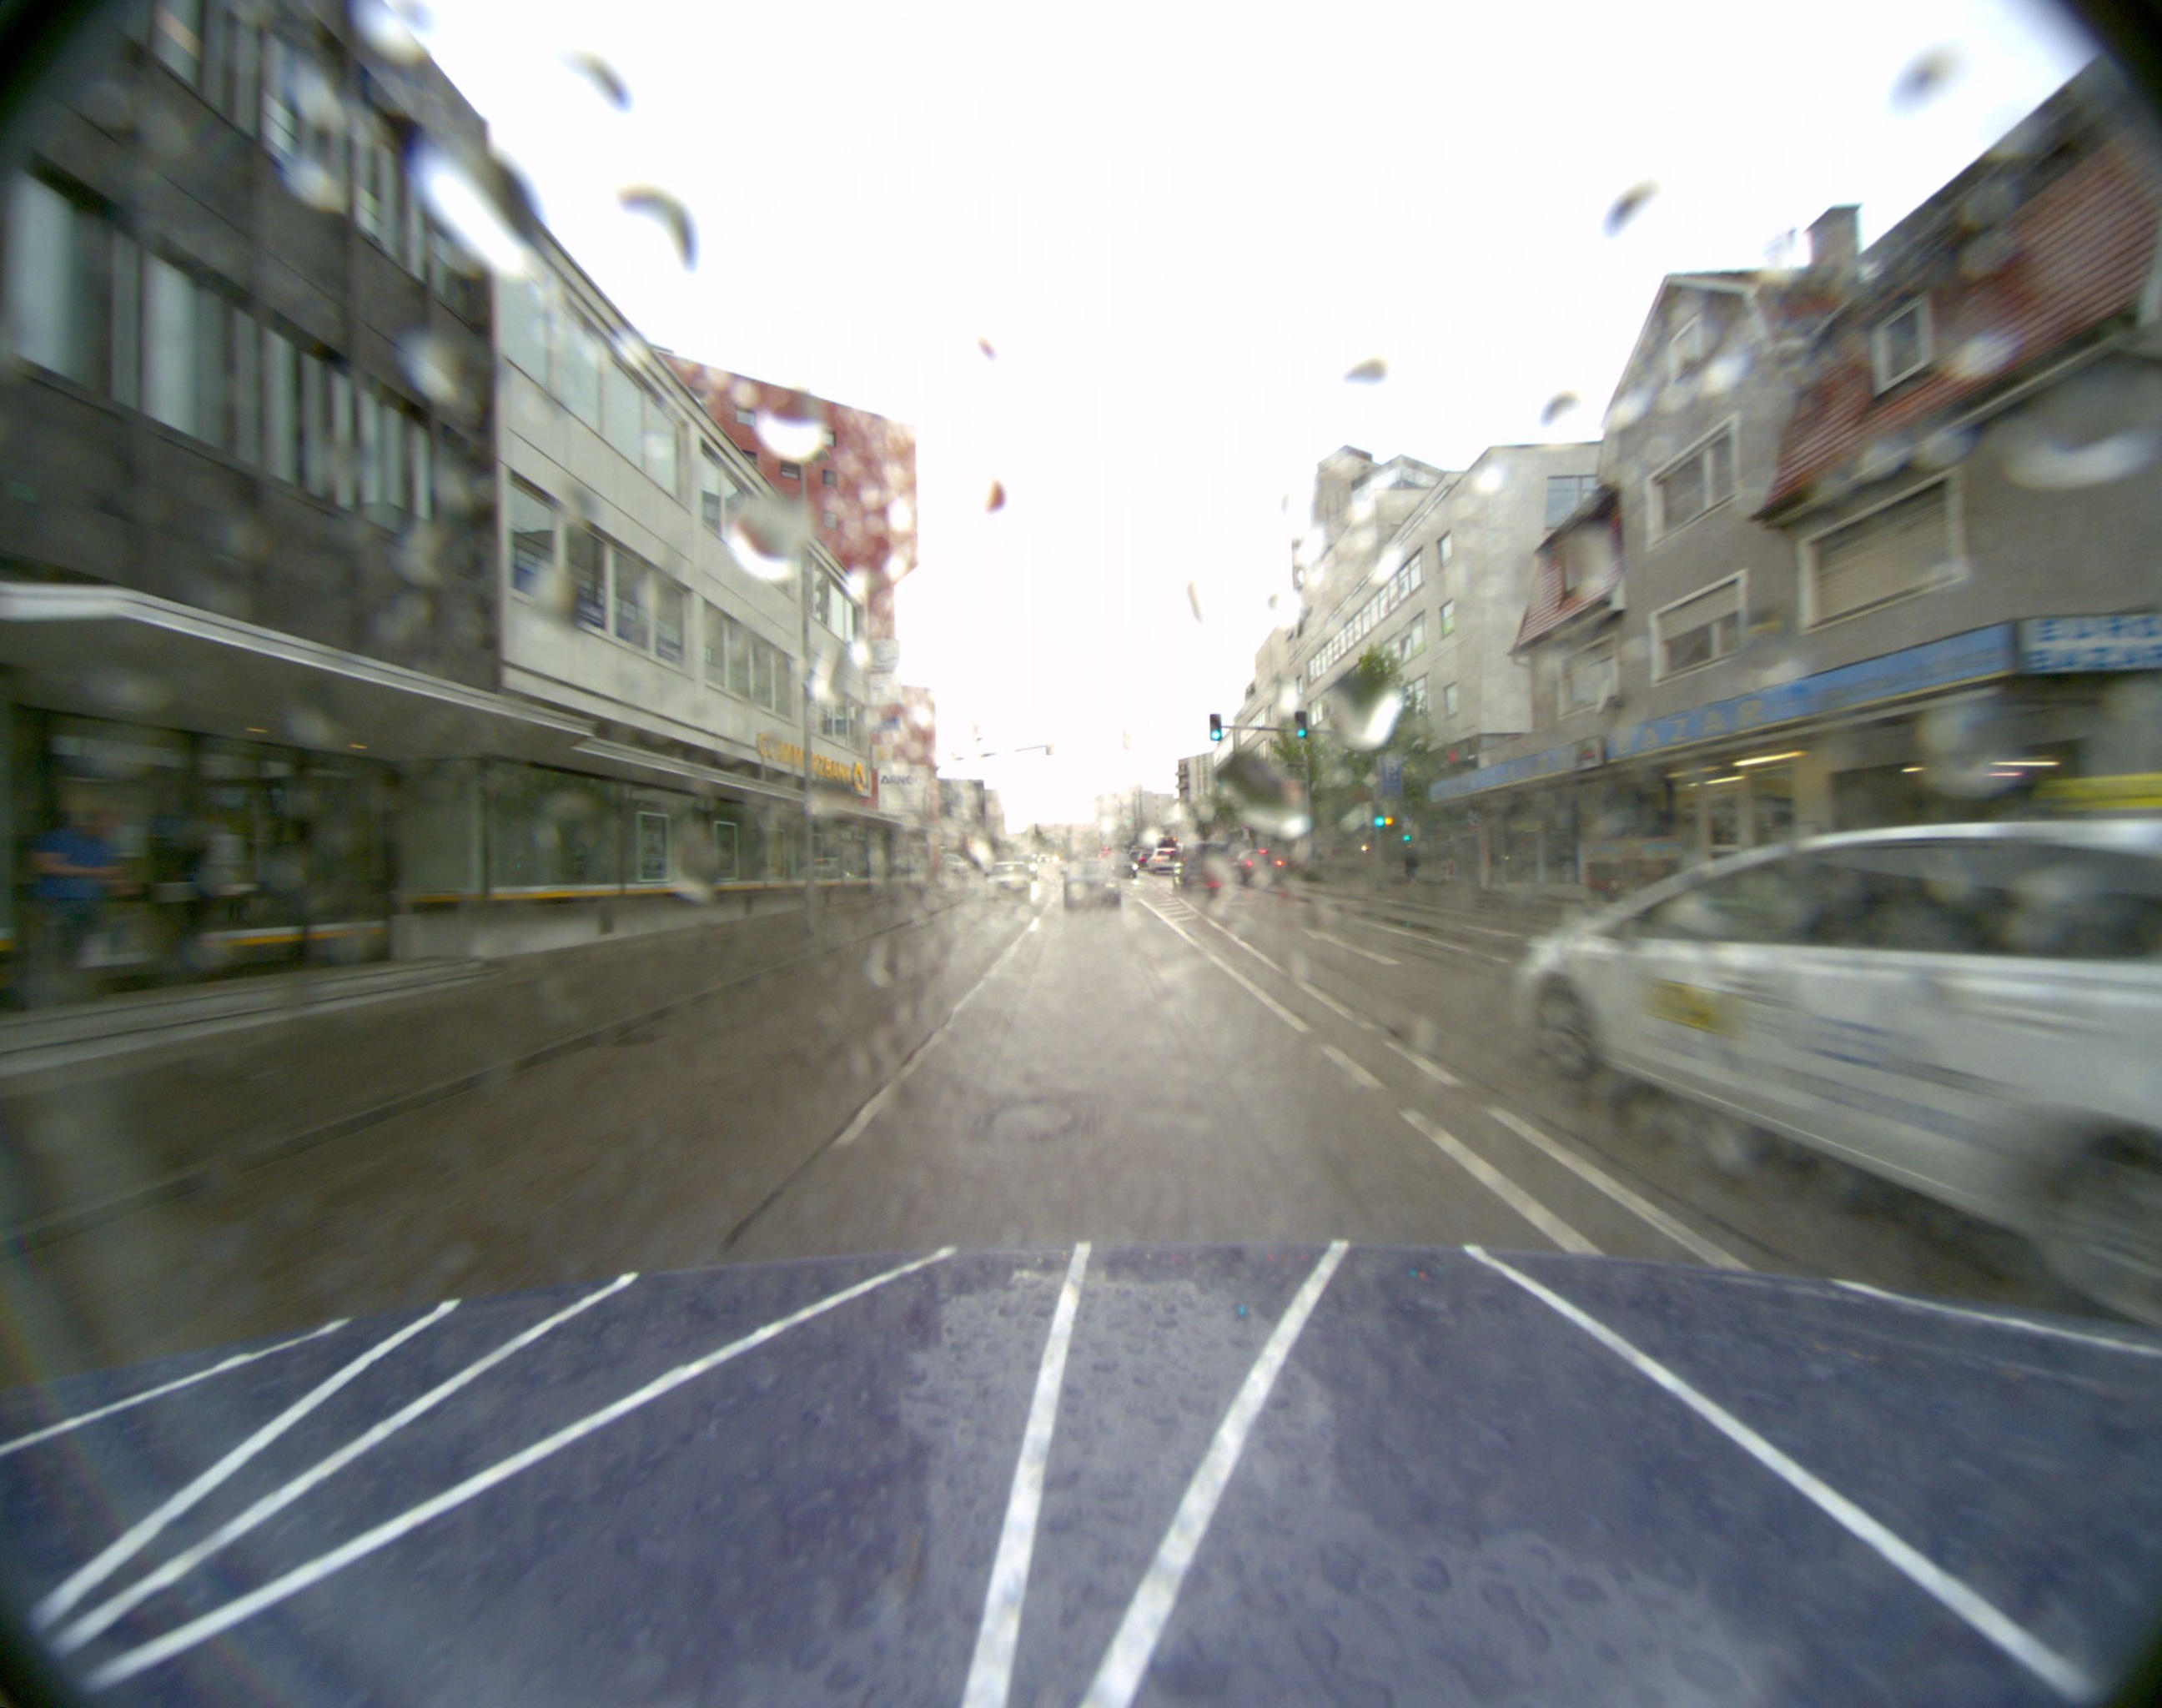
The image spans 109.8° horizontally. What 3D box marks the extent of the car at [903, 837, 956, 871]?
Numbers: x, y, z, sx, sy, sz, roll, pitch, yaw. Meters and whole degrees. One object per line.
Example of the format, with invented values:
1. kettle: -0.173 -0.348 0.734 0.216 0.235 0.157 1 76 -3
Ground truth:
1. car: -11.050 0.035 55.266 2.011 2.195 4.864 1 -4 -35

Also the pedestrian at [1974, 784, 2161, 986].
1. pedestrian: 10.066 0.289 7.791 0.663 1.910 0.946 -3 1 -7

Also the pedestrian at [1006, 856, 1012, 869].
1. pedestrian: -9.877 1.203 104.358 0.687 1.793 0.797 2 2 6

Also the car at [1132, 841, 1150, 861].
1. car: 6.193 -0.368 79.123 1.637 2.002 4.285 -1 1 2

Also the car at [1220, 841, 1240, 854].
1. car: 17.499 -0.766 89.229 1.757 1.402 3.730 -1 1 1

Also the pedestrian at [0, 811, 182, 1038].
1. pedestrian: -8.553 0.566 6.437 0.730 1.770 0.954 -2 -1 9

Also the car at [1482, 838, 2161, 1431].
1. car: 3.898 0.743 3.295 1.883 1.600 4.718 -1 1 1

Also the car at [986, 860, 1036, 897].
1. car: -2.721 0.927 30.318 1.662 1.300 3.994 -1 1 -1

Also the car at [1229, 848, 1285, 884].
1. car: 8.600 0.522 37.547 2.005 1.608 4.949 -1 1 4

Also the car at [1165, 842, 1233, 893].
1. car: 4.789 0.469 31.579 1.971 1.927 5.178 -1 1 -1

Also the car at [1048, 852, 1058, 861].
1. car: -4.938 0.444 134.832 1.609 1.452 3.362 -1 1 1

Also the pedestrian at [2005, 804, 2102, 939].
1. pedestrian: 11.389 0.200 8.911 0.544 1.548 0.446 -1 1 2

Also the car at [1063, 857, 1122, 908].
1. car: 0.298 0.840 24.090 1.688 1.373 3.793 -2 1 -1

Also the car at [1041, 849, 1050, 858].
1. car: -5.601 -0.112 120.682 1.394 1.316 2.861 -1 1 -1

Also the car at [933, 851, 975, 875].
1. car: -8.222 0.560 49.002 1.618 1.453 3.416 -1 1 -28

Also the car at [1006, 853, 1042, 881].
1. car: -3.605 0.787 48.713 2.058 1.638 4.478 -1 1 -2

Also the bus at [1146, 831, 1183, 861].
1. bus: 9.094 -0.895 83.744 2.899 3.081 11.998 -1 1 1

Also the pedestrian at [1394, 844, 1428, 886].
1. pedestrian: 14.324 0.469 32.974 0.927 1.778 1.233 -1 1 0

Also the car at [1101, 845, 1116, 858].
1. car: 3.302 -0.341 92.034 1.711 1.508 4.391 -1 1 1

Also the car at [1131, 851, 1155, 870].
1. car: 5.006 0.491 61.892 1.762 1.426 4.380 -1 1 2

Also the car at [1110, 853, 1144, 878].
1. car: 2.760 0.667 46.400 1.720 1.442 4.197 -1 1 -1

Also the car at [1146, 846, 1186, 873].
1. car: 5.725 0.329 51.543 2.104 1.702 4.848 -1 1 -1

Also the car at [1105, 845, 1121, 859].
1. car: 4.157 -0.280 99.028 1.867 1.780 3.999 1 1 -1
